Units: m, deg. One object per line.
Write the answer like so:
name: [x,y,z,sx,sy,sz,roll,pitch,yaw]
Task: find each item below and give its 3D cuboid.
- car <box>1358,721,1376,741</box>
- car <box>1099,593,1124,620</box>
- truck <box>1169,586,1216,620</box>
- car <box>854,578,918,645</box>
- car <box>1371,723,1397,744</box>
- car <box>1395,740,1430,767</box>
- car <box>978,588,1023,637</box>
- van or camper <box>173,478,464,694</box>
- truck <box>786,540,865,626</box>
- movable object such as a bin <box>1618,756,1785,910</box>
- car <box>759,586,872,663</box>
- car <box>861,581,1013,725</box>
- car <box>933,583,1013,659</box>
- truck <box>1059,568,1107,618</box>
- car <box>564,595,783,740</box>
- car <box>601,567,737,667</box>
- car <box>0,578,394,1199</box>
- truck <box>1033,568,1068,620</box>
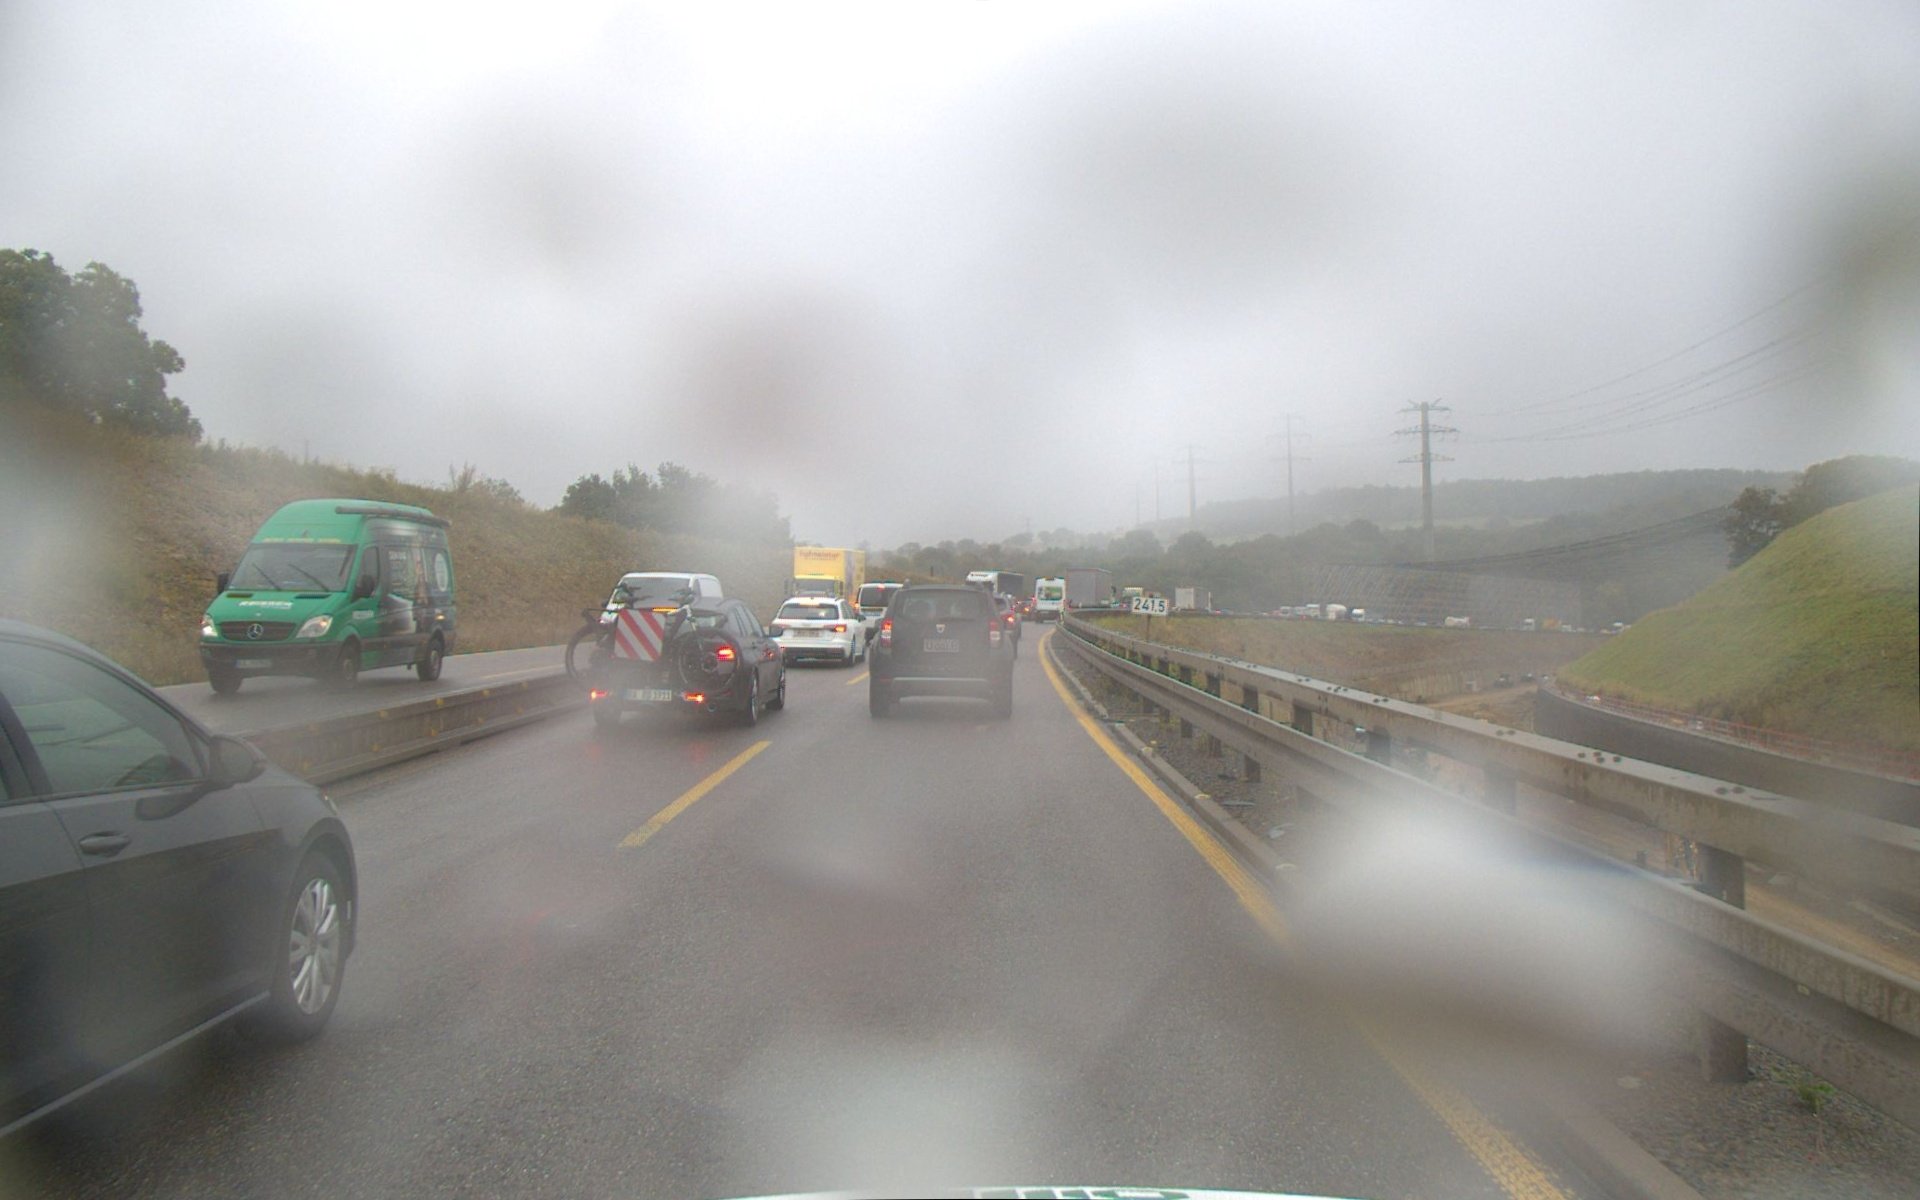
car: [51.146,16.452,207.846,1.951,2.049,4.003,2,0,16]
car: [11.115,0.455,121.184,1.737,1.949,4.003,1,0,6]
truck: [31.366,0.418,222.466,4.617,4.222,15.695,2,0,14]
car: [-2.220,0.322,50.559,1.626,1.912,4.021,1,0,2]
car: [44.155,13.896,172.276,1.951,1.847,4.002,1,0,5]
car: [42.277,14.317,154.503,2.316,2.049,4.001,2,0,3]
car: [1.415,0.417,59.114,1.499,1.669,4.013,1,0,1]
van or camper: [-9.558,-0.206,25.328,2.057,2.867,5.943,1,0,0]
truck: [-6.643,-0.826,82.660,2.710,4.066,8.426,1,0,3]
movable object such as a bin: [22.730,7.071,50.918,3.148,3.934,4.122,3,1,0]
car: [-3.010,0.474,35.260,1.829,1.486,4.549,2,0,2]
car: [-0.213,0.616,21.267,1.767,1.674,3.777,0,0,2]
car: [0.373,0.475,40.639,1.829,1.738,4.001,1,0,2]
truck: [10.006,-0.583,133.719,3.132,3.827,8.516,1,0,8]
car: [-3.189,0.703,19.120,1.791,1.502,3.777,0,0,1]
car: [-6.143,0.327,35.529,1.960,1.920,5.273,2,0,0]
car: [-2.816,0.734,3.824,1.581,1.532,4.367,-1,0,-1]
truck: [5.866,-0.377,106.732,2.104,3.221,6.462,1,0,3]
